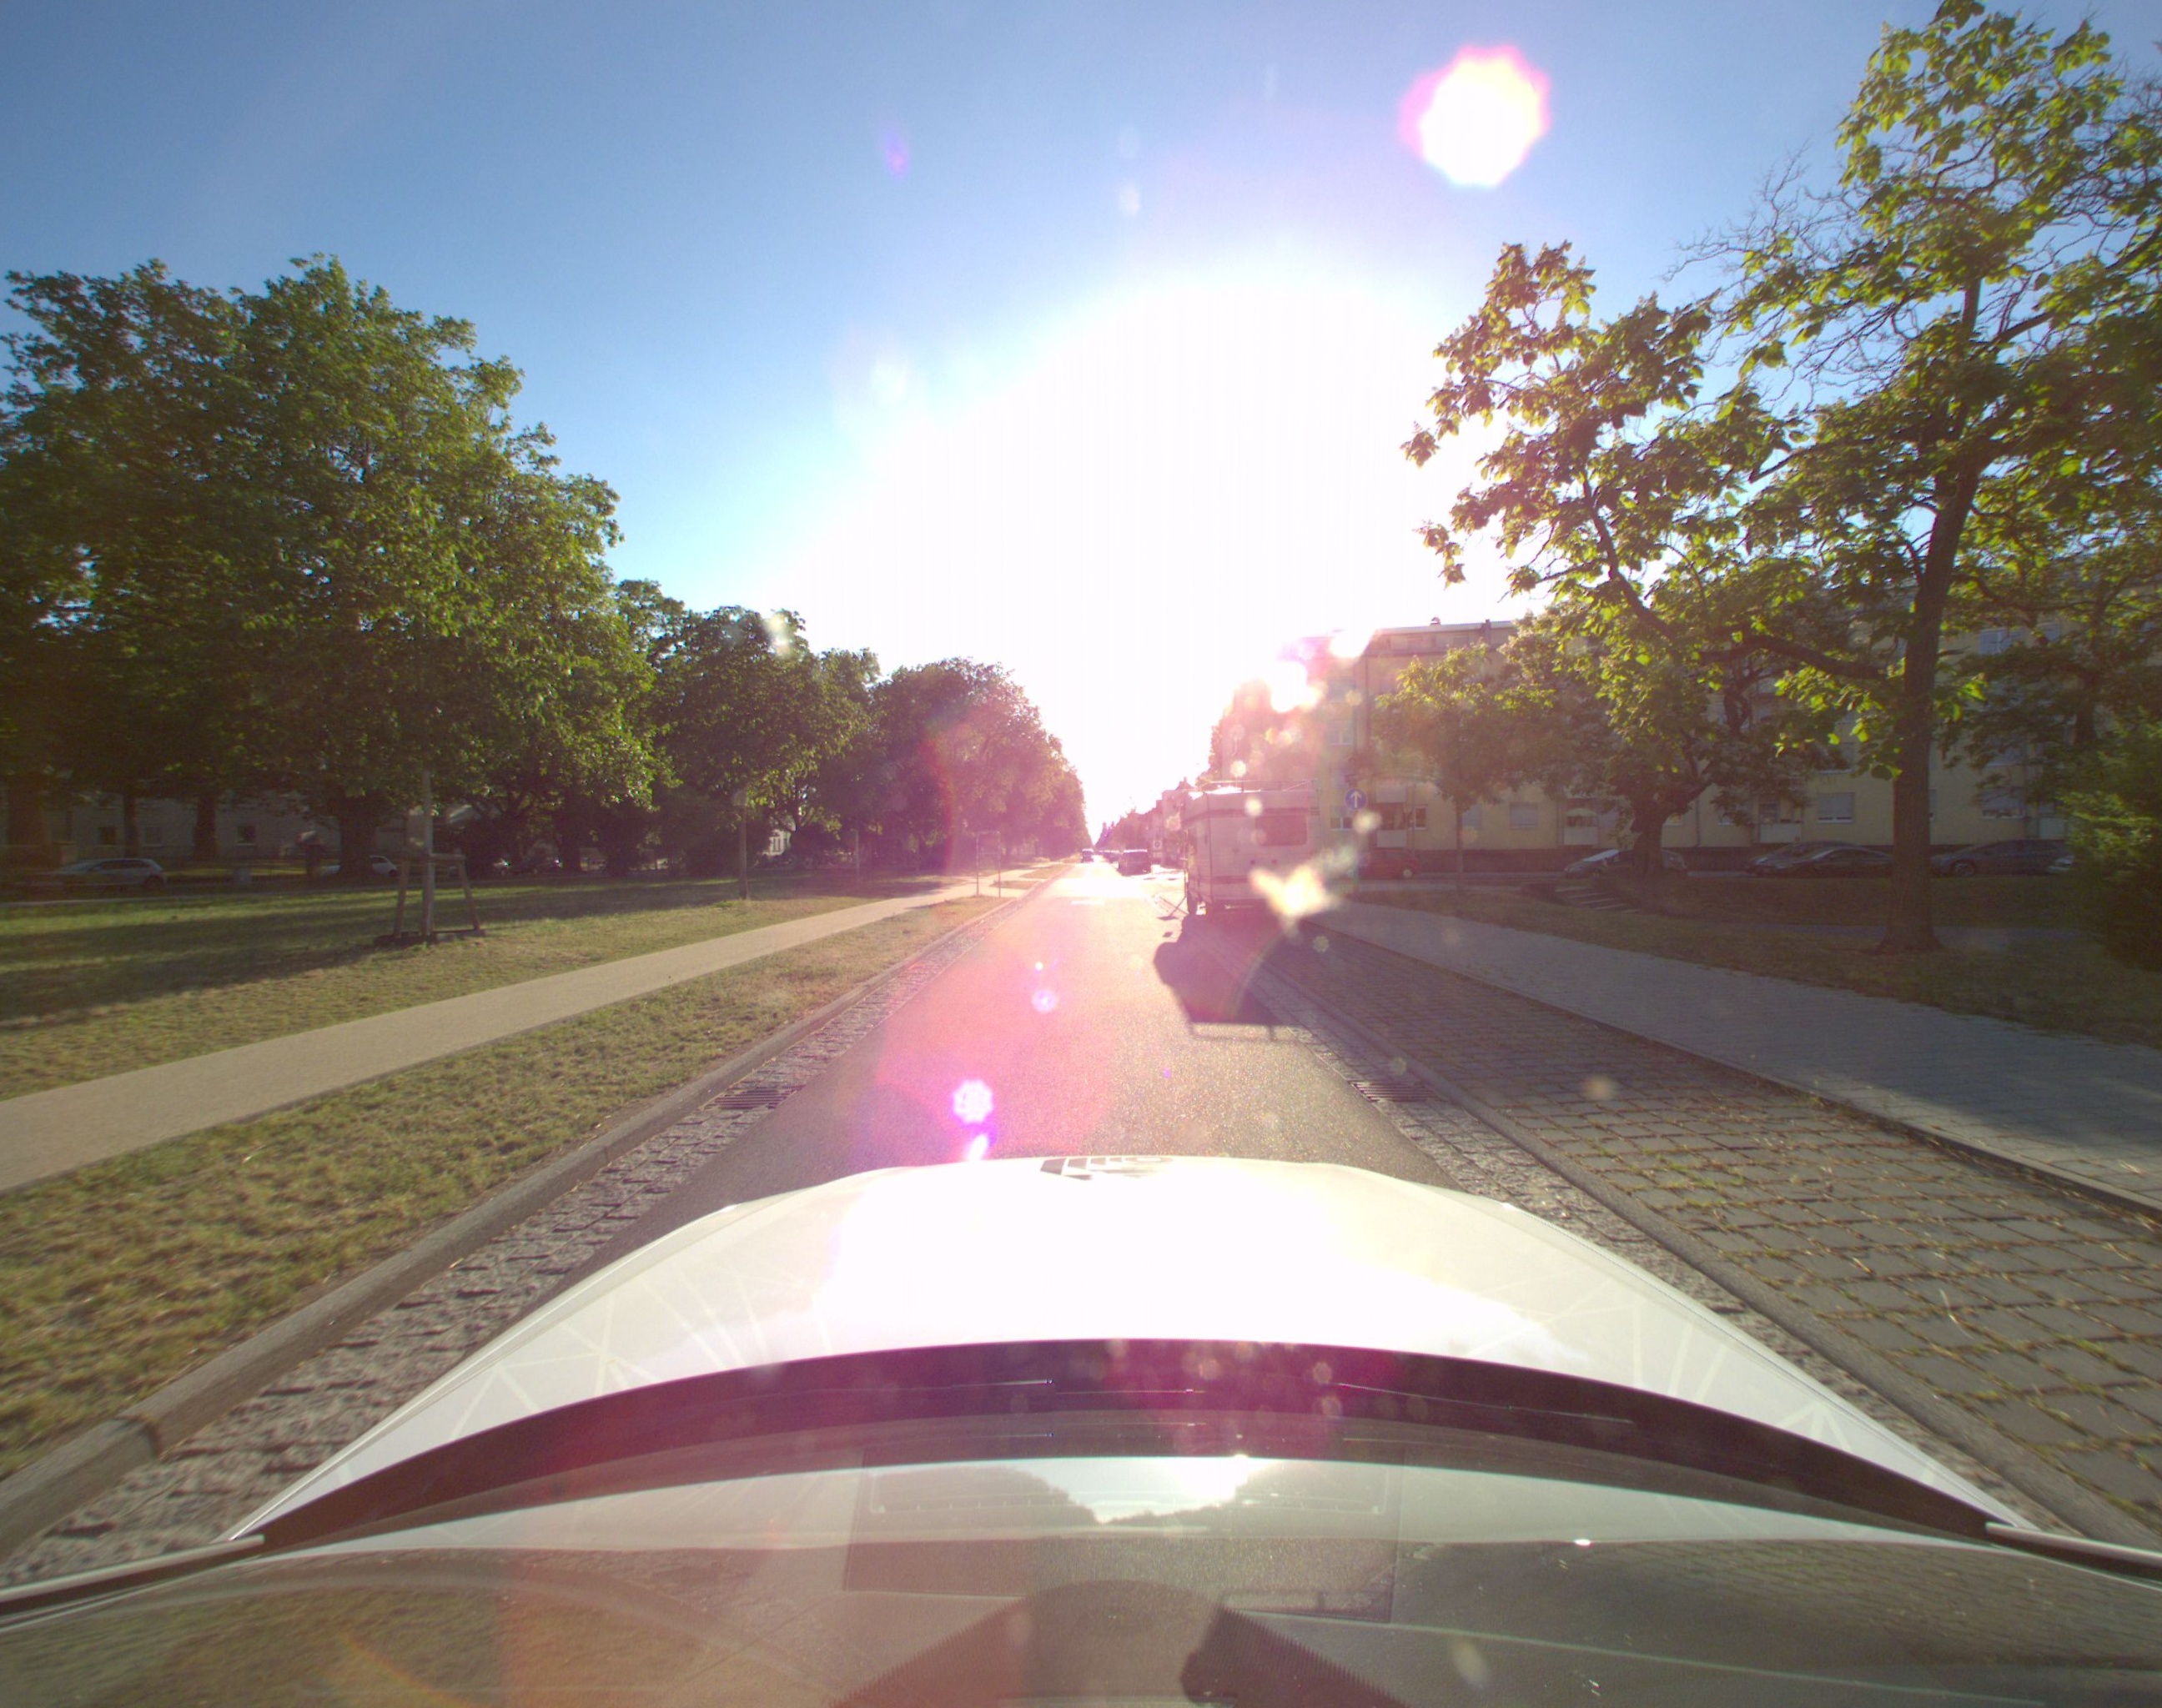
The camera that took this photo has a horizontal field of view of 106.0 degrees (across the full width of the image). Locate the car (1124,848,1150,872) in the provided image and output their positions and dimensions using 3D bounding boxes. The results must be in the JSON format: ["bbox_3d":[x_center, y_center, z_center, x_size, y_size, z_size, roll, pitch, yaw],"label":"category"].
[{"bbox_3d":[4.051,0.451,59.231,1.621,1.669,4.249,-1,0,1],"label":"car"}]

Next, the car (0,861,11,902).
[{"bbox_3d":[-41.623,1.048,28.883,1.986,1.508,4.002,-1,0,2],"label":"car"}]

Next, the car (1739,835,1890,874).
[{"bbox_3d":[31.804,0.047,35.482,4.474,1.569,1.890,-1,0,19],"label":"car"}]

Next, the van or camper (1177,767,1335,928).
[{"bbox_3d":[3.521,-0.065,17.695,2.226,2.904,5.672,-1,-1,1],"label":"van or camper"}]

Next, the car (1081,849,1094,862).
[{"bbox_3d":[0.989,0.223,116.005,1.819,1.669,4.249,-1,0,1],"label":"car"}]

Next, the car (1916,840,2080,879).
[{"bbox_3d":[36.723,0.233,32.782,3.949,1.453,1.892,-1,0,29],"label":"car"}]

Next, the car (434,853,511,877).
[{"bbox_3d":[-40.876,0.694,54.873,1.986,1.508,4.117,-1,0,2],"label":"car"}]

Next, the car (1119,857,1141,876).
[{"bbox_3d":[4.531,1.135,75.360,1.985,1.717,4.004,-1,0,4],"label":"car"}]

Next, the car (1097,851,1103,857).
[{"bbox_3d":[5.786,-0.010,248.439,1.621,1.669,4.249,-1,0,1],"label":"car"}]

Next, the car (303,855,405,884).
[{"bbox_3d":[-41.105,0.836,46.199,1.986,1.508,4.117,-1,0,2],"label":"car"}]

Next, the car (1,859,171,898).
[{"bbox_3d":[-41.441,0.967,34.088,1.986,1.508,4.117,-1,0,2],"label":"car"}]

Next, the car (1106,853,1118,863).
[{"bbox_3d":[4.720,0.568,123.924,1.621,1.410,4.249,-1,0,1],"label":"car"}]

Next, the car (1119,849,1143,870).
[{"bbox_3d":[4.313,0.455,69.803,1.985,1.717,4.004,-1,0,4],"label":"car"}]

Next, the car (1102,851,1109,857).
[{"bbox_3d":[6.427,-0.025,212.990,1.621,1.410,4.249,-1,0,1],"label":"car"}]

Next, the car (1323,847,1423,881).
[{"bbox_3d":[14.174,0.498,39.724,4.175,1.530,2.003,-1,0,5],"label":"car"}]

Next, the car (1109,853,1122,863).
[{"bbox_3d":[4.718,0.527,112.908,1.621,1.410,4.249,-1,0,1],"label":"car"}]

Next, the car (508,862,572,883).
[{"bbox_3d":[-41.005,1.365,61.811,1.986,1.508,4.117,-1,0,2],"label":"car"}]

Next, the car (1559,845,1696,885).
[{"bbox_3d":[21.514,0.432,32.210,4.163,1.463,1.700,-1,0,16],"label":"car"}]

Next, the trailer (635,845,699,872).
[{"bbox_3d":[-40.371,0.413,79.688,2.450,2.489,7.052,-1,0,2],"label":"trailer"}]

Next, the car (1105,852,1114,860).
[{"bbox_3d":[5.569,0.415,160.256,1.621,1.410,4.249,-1,0,1],"label":"car"}]

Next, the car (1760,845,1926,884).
[{"bbox_3d":[28.156,0.397,30.255,4.159,1.357,1.702,-1,0,21],"label":"car"}]

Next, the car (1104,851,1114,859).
[{"bbox_3d":[5.009,0.177,144.437,1.621,1.410,4.249,-1,0,1],"label":"car"}]
